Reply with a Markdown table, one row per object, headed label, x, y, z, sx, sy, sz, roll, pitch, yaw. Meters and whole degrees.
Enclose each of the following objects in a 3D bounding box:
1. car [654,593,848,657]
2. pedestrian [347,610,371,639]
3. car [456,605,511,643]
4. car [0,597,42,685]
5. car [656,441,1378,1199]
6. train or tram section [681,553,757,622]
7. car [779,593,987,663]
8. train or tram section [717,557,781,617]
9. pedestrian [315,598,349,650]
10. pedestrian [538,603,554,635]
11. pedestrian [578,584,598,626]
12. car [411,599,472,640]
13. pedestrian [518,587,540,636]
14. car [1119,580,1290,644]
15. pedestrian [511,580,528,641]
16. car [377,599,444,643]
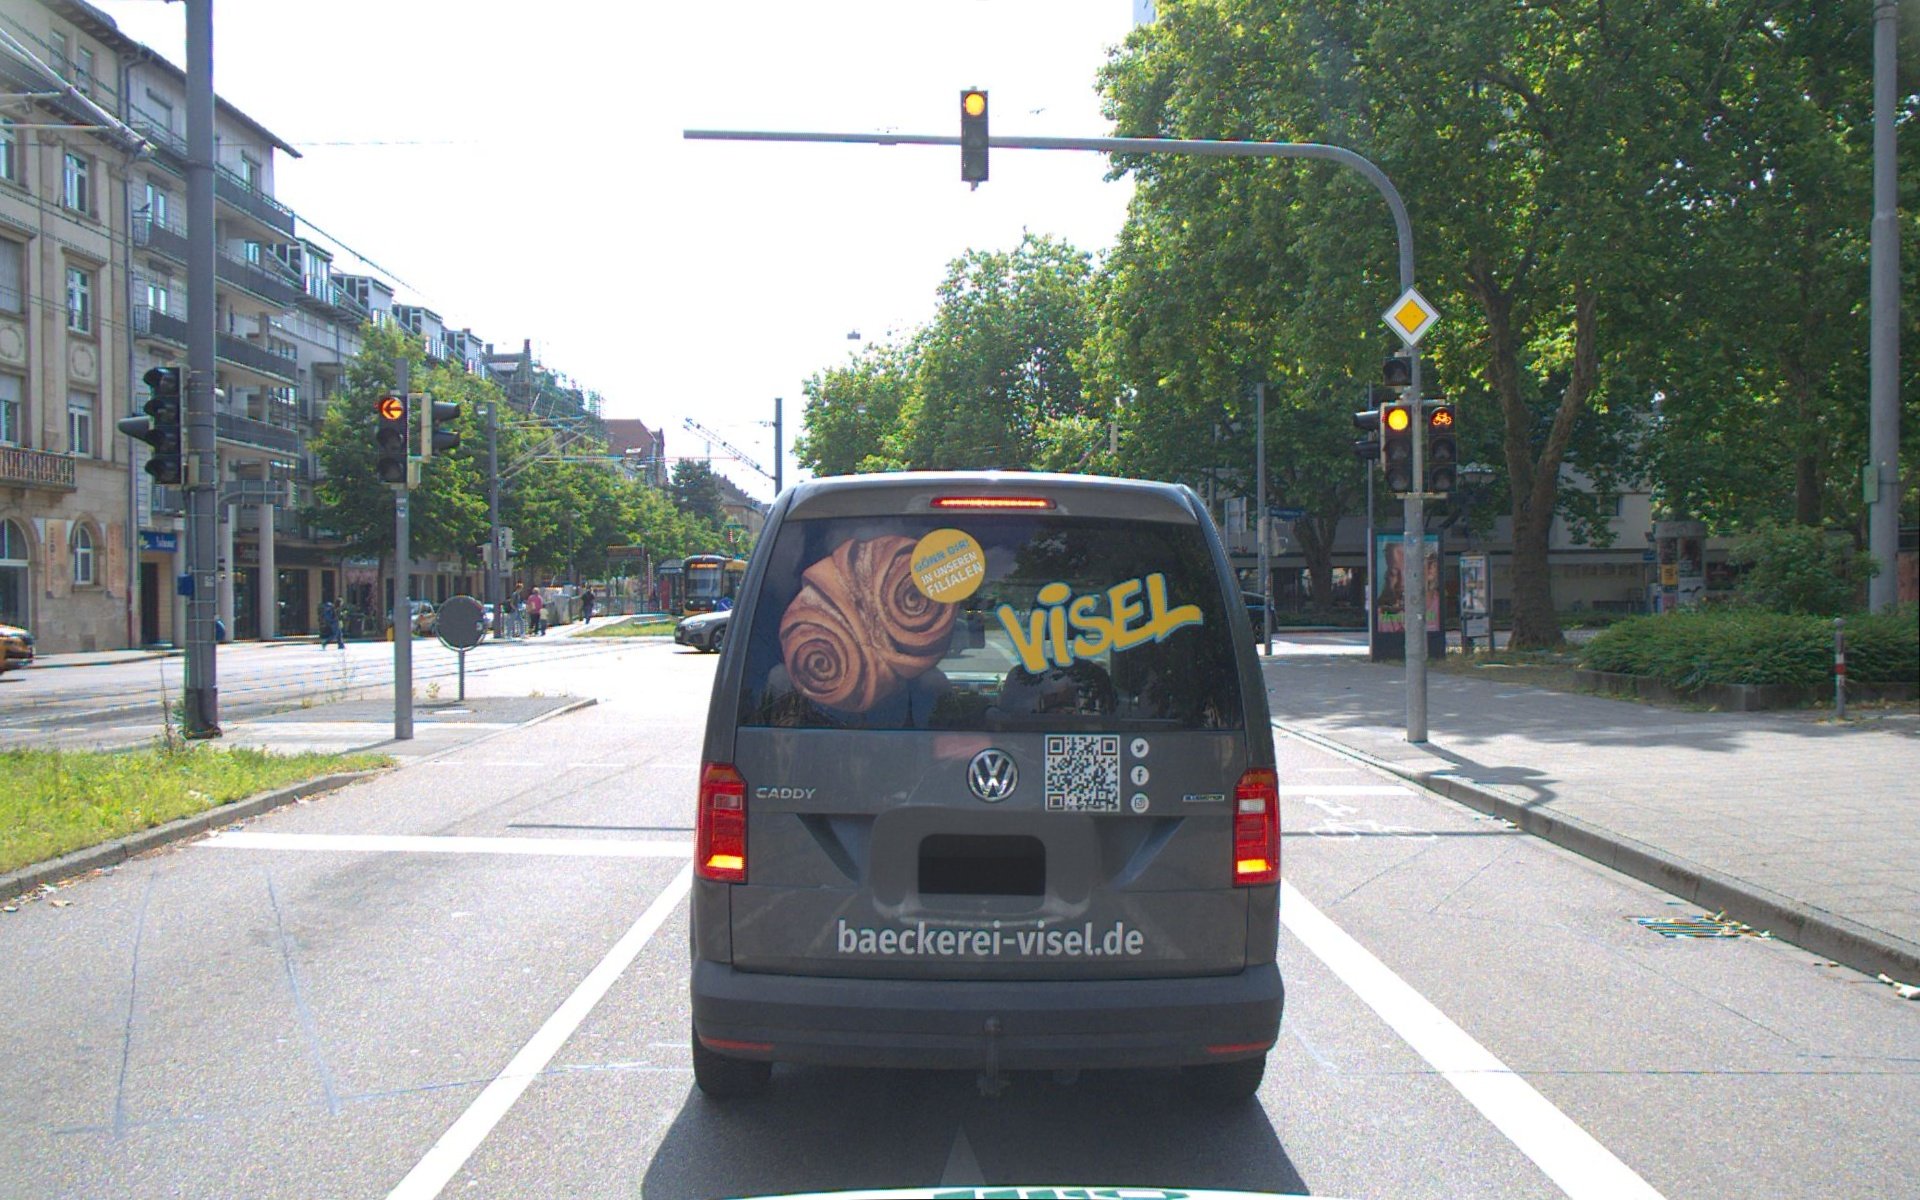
| label | x | y | z | sx | sy | sz | roll | pitch | yaw |
| --- | --- | --- | --- | --- | --- | --- | --- | --- | --- |
| car | -5.109 | 0.578 | 40.448 | 4.423 | 1.414 | 1.693 | -1 | 0 | -25 |
| pedestrian | -25.953 | 1.063 | 71.413 | 0.738 | 1.233 | 0.704 | -1 | 0 | -1 |
| car | -27.180 | 1.342 | 94.425 | 1.953 | 2.049 | 3.999 | -1 | 0 | -1 |
| car | -18.946 | 0.768 | 29.618 | 4.259 | 1.573 | 1.617 | -1 | 0 | -26 |
| car | 0.125 | 0.537 | 5.702 | 1.715 | 1.840 | 3.474 | 1 | 0 | -1 |
| train or tram section | -12.768 | -0.676 | 88.643 | 2.195 | 3.389 | 12.970 | -1 | 0 | 0 |
| car | -1.763 | 0.612 | 38.034 | 4.497 | 1.461 | 1.693 | -1 | 0 | -25 |
| train or tram section | -12.860 | -0.798 | 102.046 | 2.195 | 3.389 | 14.012 | -1 | 0 | 0 |
| pedestrian | -19.985 | 0.768 | 52.605 | 0.852 | 1.623 | 0.685 | -1 | 0 | -36 |
| pedestrian | -15.320 | 0.711 | 61.160 | 0.454 | 1.164 | 0.435 | -1 | 0 | -1 |
| pedestrian | -15.218 | 0.192 | 67.583 | 0.646 | 1.714 | 0.655 | -1 | 0 | -1 |
| car | -26.893 | 0.999 | 85.923 | 1.953 | 2.049 | 3.999 | -1 | 0 | -1 |
| pedestrian | -15.975 | 0.423 | 61.307 | 0.646 | 1.815 | 0.660 | -1 | 0 | -1 |
| car | 6.799 | 0.308 | 45.975 | 4.421 | 1.629 | 1.850 | -1 | 0 | -24 |
| pedestrian | -14.795 | 0.354 | 55.527 | 0.468 | 2.049 | 0.419 | -1 | 0 | -6 |
| car | -26.942 | 1.019 | 81.218 | 1.953 | 2.049 | 3.999 | -1 | 0 | -1 |
